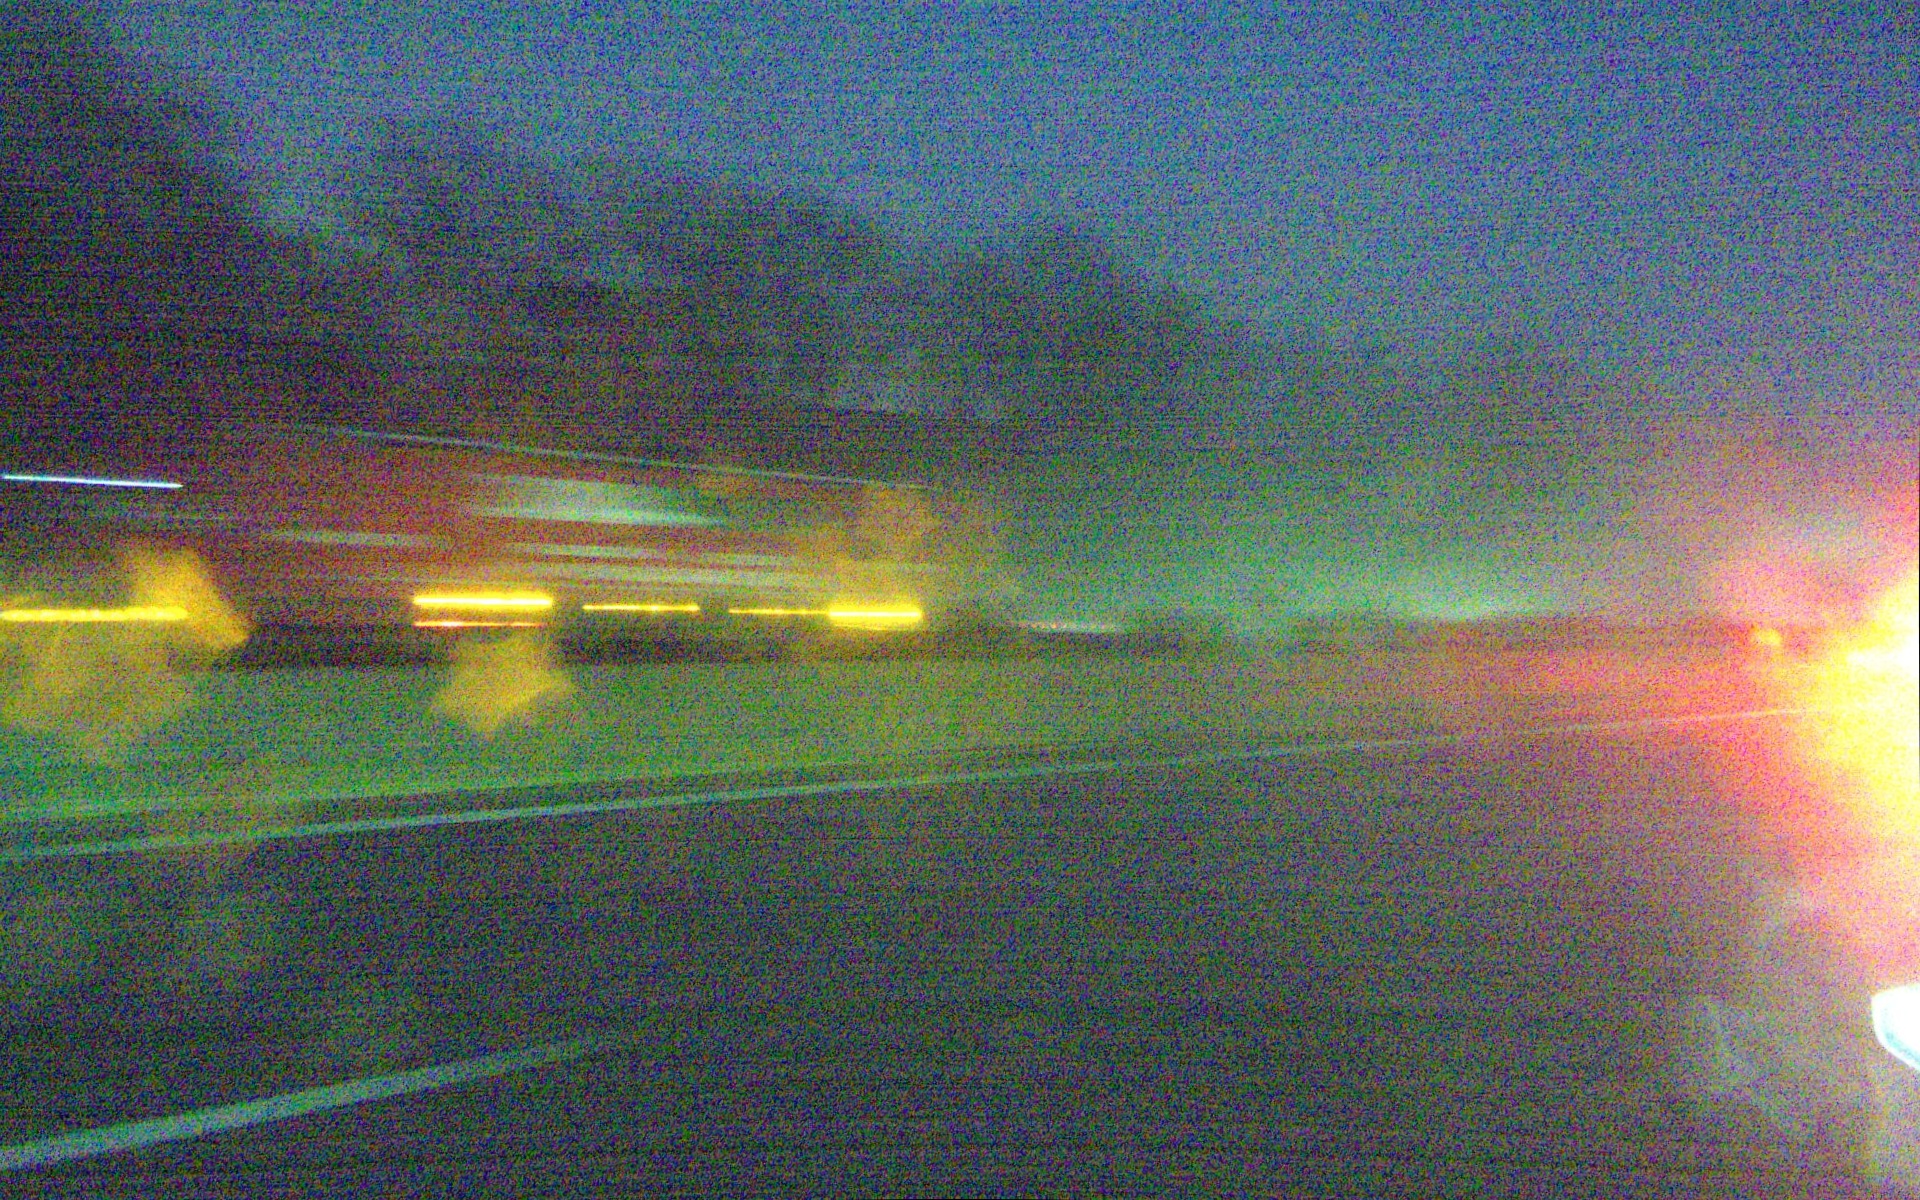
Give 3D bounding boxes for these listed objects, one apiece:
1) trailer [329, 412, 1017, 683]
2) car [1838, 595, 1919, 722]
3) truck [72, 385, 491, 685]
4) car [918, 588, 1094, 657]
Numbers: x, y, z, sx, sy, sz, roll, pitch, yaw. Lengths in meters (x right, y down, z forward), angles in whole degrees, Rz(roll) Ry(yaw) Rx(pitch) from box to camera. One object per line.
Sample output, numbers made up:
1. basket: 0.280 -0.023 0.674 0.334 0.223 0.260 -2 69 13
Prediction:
1. trailer: -5.715 -0.651 22.457 13.786 4.685 4.150 2 -1 -29
2. car: 15.761 0.921 15.367 4.827 1.800 1.985 2 -1 -29
3. truck: -12.182 -0.906 18.888 5.774 4.685 4.150 2 -1 -28
4. car: 0.982 0.486 21.146 3.372 1.305 1.633 2 -1 -32
